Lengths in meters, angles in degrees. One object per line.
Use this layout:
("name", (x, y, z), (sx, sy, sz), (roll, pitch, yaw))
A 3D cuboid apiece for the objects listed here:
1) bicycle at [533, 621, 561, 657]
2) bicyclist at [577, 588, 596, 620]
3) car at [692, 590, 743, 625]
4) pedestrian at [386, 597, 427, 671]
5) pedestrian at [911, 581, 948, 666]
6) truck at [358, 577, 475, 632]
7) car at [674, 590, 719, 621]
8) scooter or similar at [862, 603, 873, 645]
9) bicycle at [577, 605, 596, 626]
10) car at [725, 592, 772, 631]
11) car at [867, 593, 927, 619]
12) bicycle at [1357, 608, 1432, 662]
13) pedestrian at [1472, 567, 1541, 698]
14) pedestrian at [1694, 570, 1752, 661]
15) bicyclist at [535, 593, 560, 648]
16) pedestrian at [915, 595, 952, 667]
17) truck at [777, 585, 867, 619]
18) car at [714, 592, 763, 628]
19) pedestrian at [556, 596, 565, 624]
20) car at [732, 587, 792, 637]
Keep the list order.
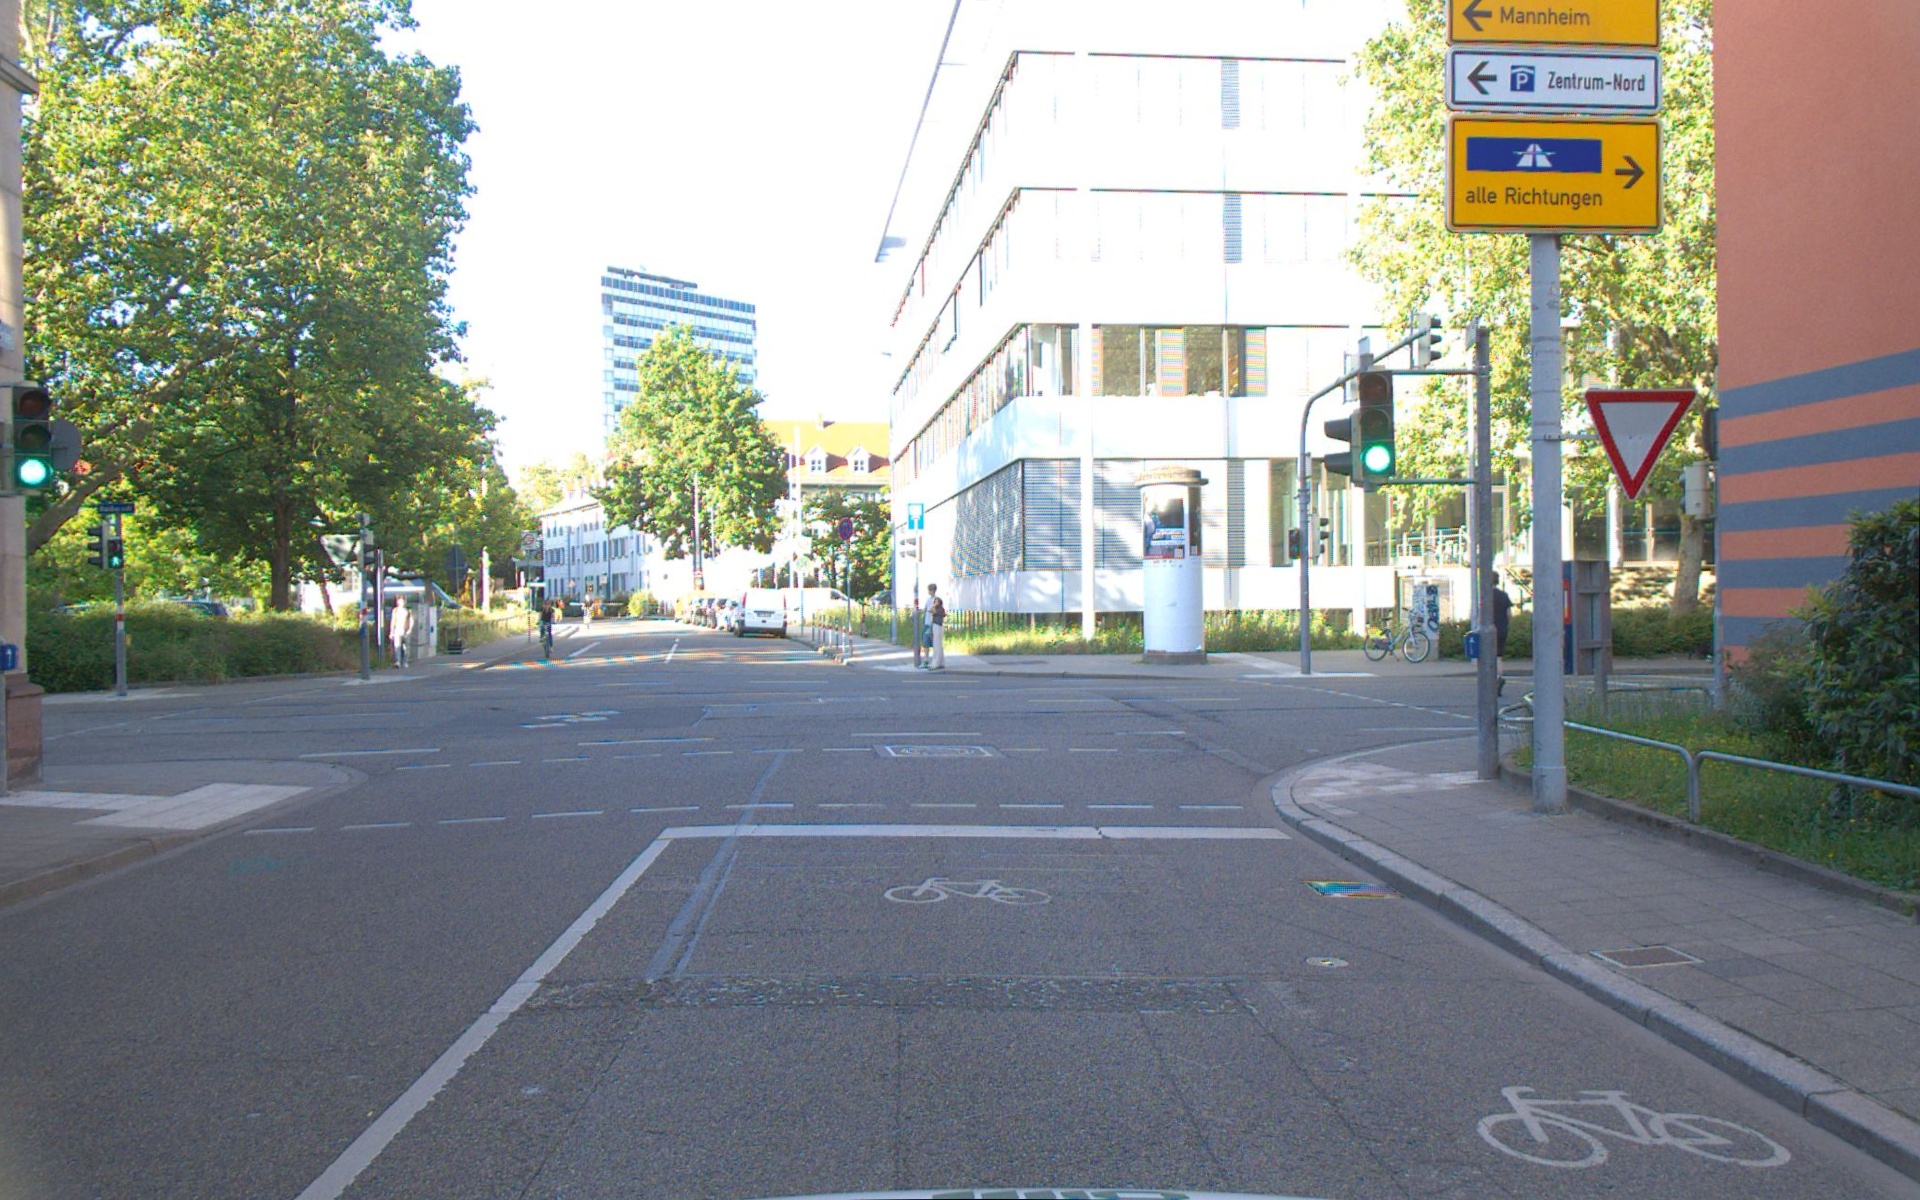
("bicycle", (-11.852, 1.112, 47.541), (0.604, 0.986, 1.837), (-1, 0, -9))
("bicyclist", (-19.126, 0.212, 84.677), (0.850, 1.542, 1.016), (-3, 0, -12))
("car", (-12.520, 0.362, 85.096), (1.860, 1.684, 4.391), (0, 1, -19))
("pedestrian", (-13.515, 0.824, 40.418), (0.689, 1.753, 0.954), (-2, 0, -5))
("pedestrian", (-0.698, 0.526, 37.491), (0.547, 1.883, 0.678), (-4, 1, 15))
("truck", (-24.431, 0.188, 74.508), (4.741, 2.441, 2.082), (0, 0, -11))
("car", (-15.175, 0.318, 94.997), (1.860, 1.684, 4.391), (0, 1, -19))
("scooter or similar", (-3.262, 0.841, 58.216), (0.324, 1.449, 1.333), (1, -1, -6))
("bicycle", (-19.100, 0.800, 84.660), (0.850, 1.027, 2.407), (-3, 0, -11))
("car", (-9.312, 0.474, 72.517), (1.854, 1.583, 4.404), (0, 1, -10))
("car", (-3.975, 0.367, 103.888), (3.502, 1.573, 1.549), (0, 0, -20))
("bicycle", (9.408, 0.745, 35.851), (0.503, 1.067, 1.667), (-3, 3, -35))
("pedestrian", (7.971, 0.465, 24.144), (0.692, 1.872, 0.837), (1, 0, -1))
("pedestrian", (15.859, 0.322, 34.394), (0.819, 1.872, 0.707), (1, 0, -10))
("bicyclist", (-11.862, 0.589, 47.555), (0.604, 1.559, 0.901), (-1, 0, -9))
("pedestrian", (-0.584, 0.688, 36.886), (0.551, 1.567, 0.673), (-4, 1, -19))
("truck", (-8.591, 0.144, 102.644), (5.258, 2.049, 1.989), (0, 0, -20))
("car", (-10.469, 0.436, 77.873), (1.856, 1.583, 4.400), (0, 1, -13))
("pedestrian", (-24.369, 0.609, 100.843), (0.428, 1.636, 0.488), (-1, 0, -27))
("car", (-7.735, 0.433, 64.338), (2.047, 1.827, 4.404), (0, 1, -10))
